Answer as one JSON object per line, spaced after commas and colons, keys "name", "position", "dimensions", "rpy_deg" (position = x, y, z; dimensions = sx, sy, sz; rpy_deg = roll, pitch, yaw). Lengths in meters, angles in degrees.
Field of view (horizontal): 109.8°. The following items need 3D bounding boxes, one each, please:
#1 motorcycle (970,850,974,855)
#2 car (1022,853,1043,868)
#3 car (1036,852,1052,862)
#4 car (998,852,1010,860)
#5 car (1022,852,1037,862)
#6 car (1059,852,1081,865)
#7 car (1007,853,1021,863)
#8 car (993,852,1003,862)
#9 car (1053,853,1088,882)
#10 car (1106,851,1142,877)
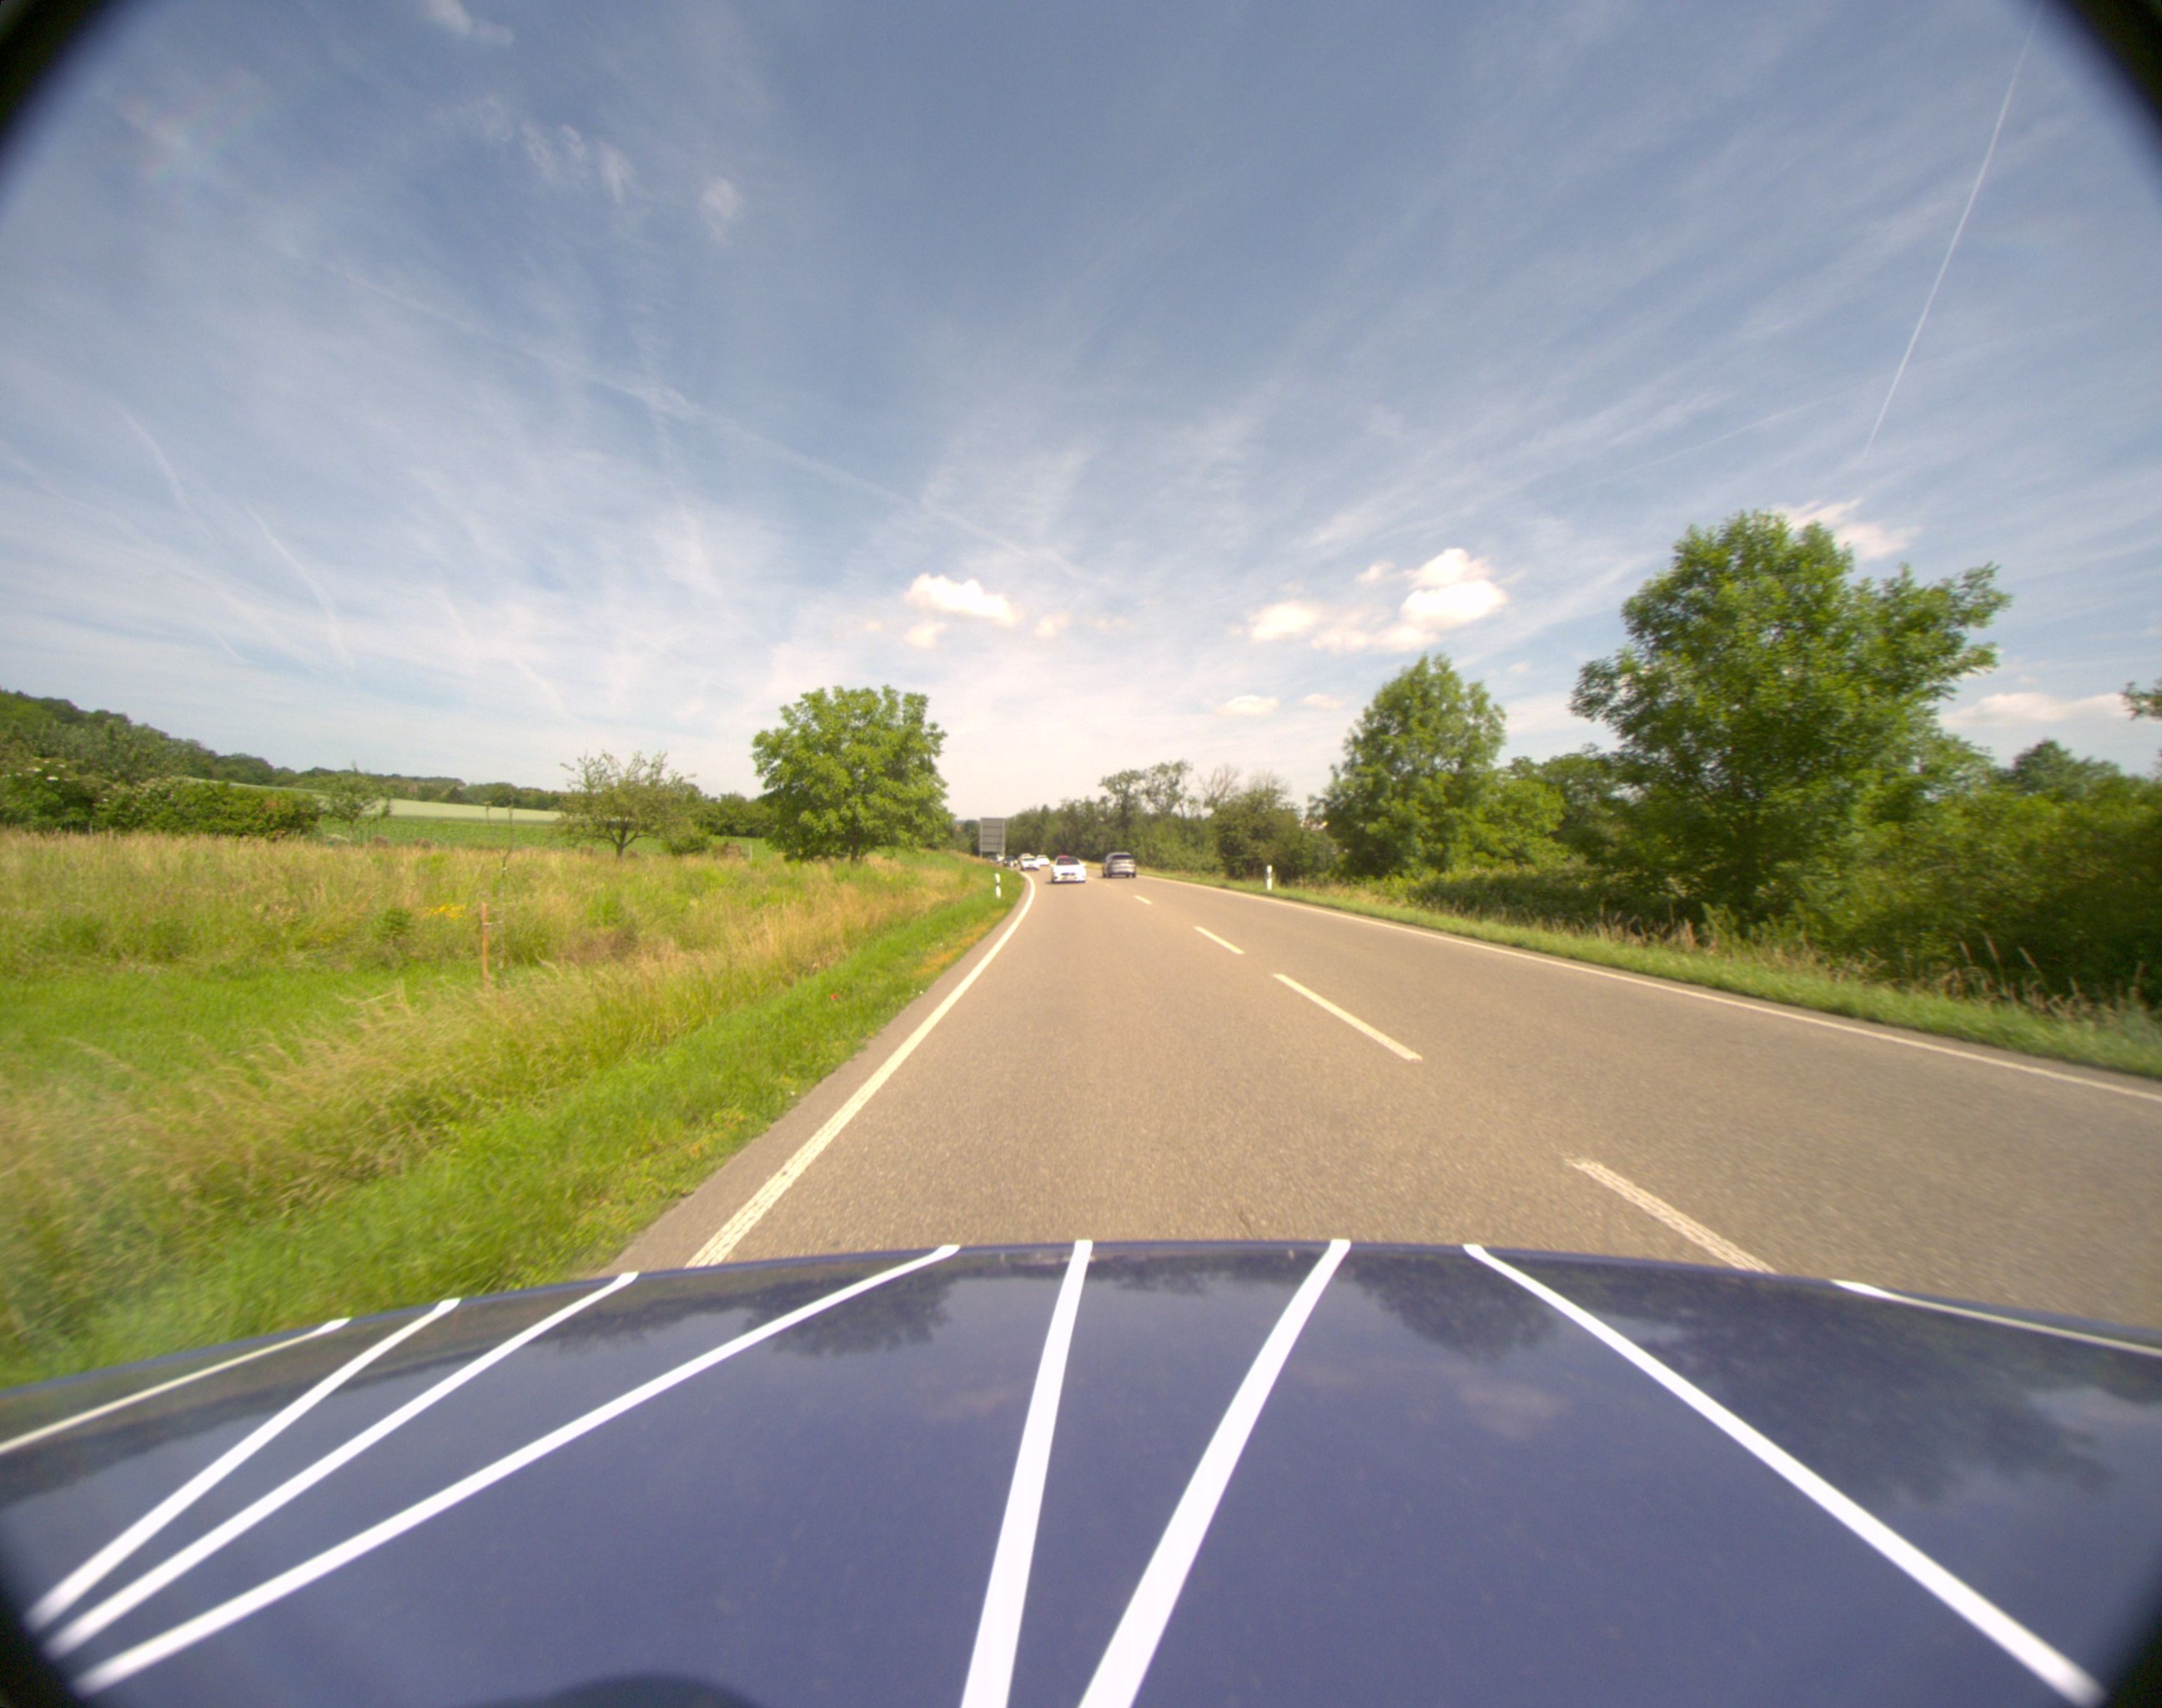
{"name": "motorcycle", "position": [-26.368, -0.356, 183.343], "dimensions": [0.760, 0.988, 2.276], "rpy_deg": [0, 0, -16]}
{"name": "car", "position": [-5.088, 0.674, 79.685], "dimensions": [1.867, 1.480, 3.997], "rpy_deg": [-3, 1, -8]}
{"name": "car", "position": [-5.239, 0.414, 106.950], "dimensions": [1.757, 1.406, 3.768], "rpy_deg": [0, 0, -12]}
{"name": "car", "position": [-15.262, 0.389, 150.410], "dimensions": [1.797, 1.513, 4.154], "rpy_deg": [0, 0, -16]}
{"name": "car", "position": [-8.371, 0.458, 123.312], "dimensions": [1.840, 1.607, 4.357], "rpy_deg": [0, 0, -12]}
{"name": "car", "position": [-1.324, 0.543, 87.916], "dimensions": [1.827, 1.390, 4.177], "rpy_deg": [2, 0, -12]}
{"name": "car", "position": [-9.468, 0.552, 107.325], "dimensions": [1.826, 1.510, 3.997], "rpy_deg": [0, 0, -7]}
{"name": "car", "position": [-14.166, 0.507, 129.633], "dimensions": [1.667, 1.641, 3.996], "rpy_deg": [0, 1, -8]}
{"name": "car", "position": [-0.637, 0.752, 43.263], "dimensions": [1.773, 1.437, 3.998], "rpy_deg": [-2, 1, -3]}
{"name": "car", "position": [2.778, 0.634, 50.276], "dimensions": [1.962, 1.596, 4.400], "rpy_deg": [-2, 0, -1]}
